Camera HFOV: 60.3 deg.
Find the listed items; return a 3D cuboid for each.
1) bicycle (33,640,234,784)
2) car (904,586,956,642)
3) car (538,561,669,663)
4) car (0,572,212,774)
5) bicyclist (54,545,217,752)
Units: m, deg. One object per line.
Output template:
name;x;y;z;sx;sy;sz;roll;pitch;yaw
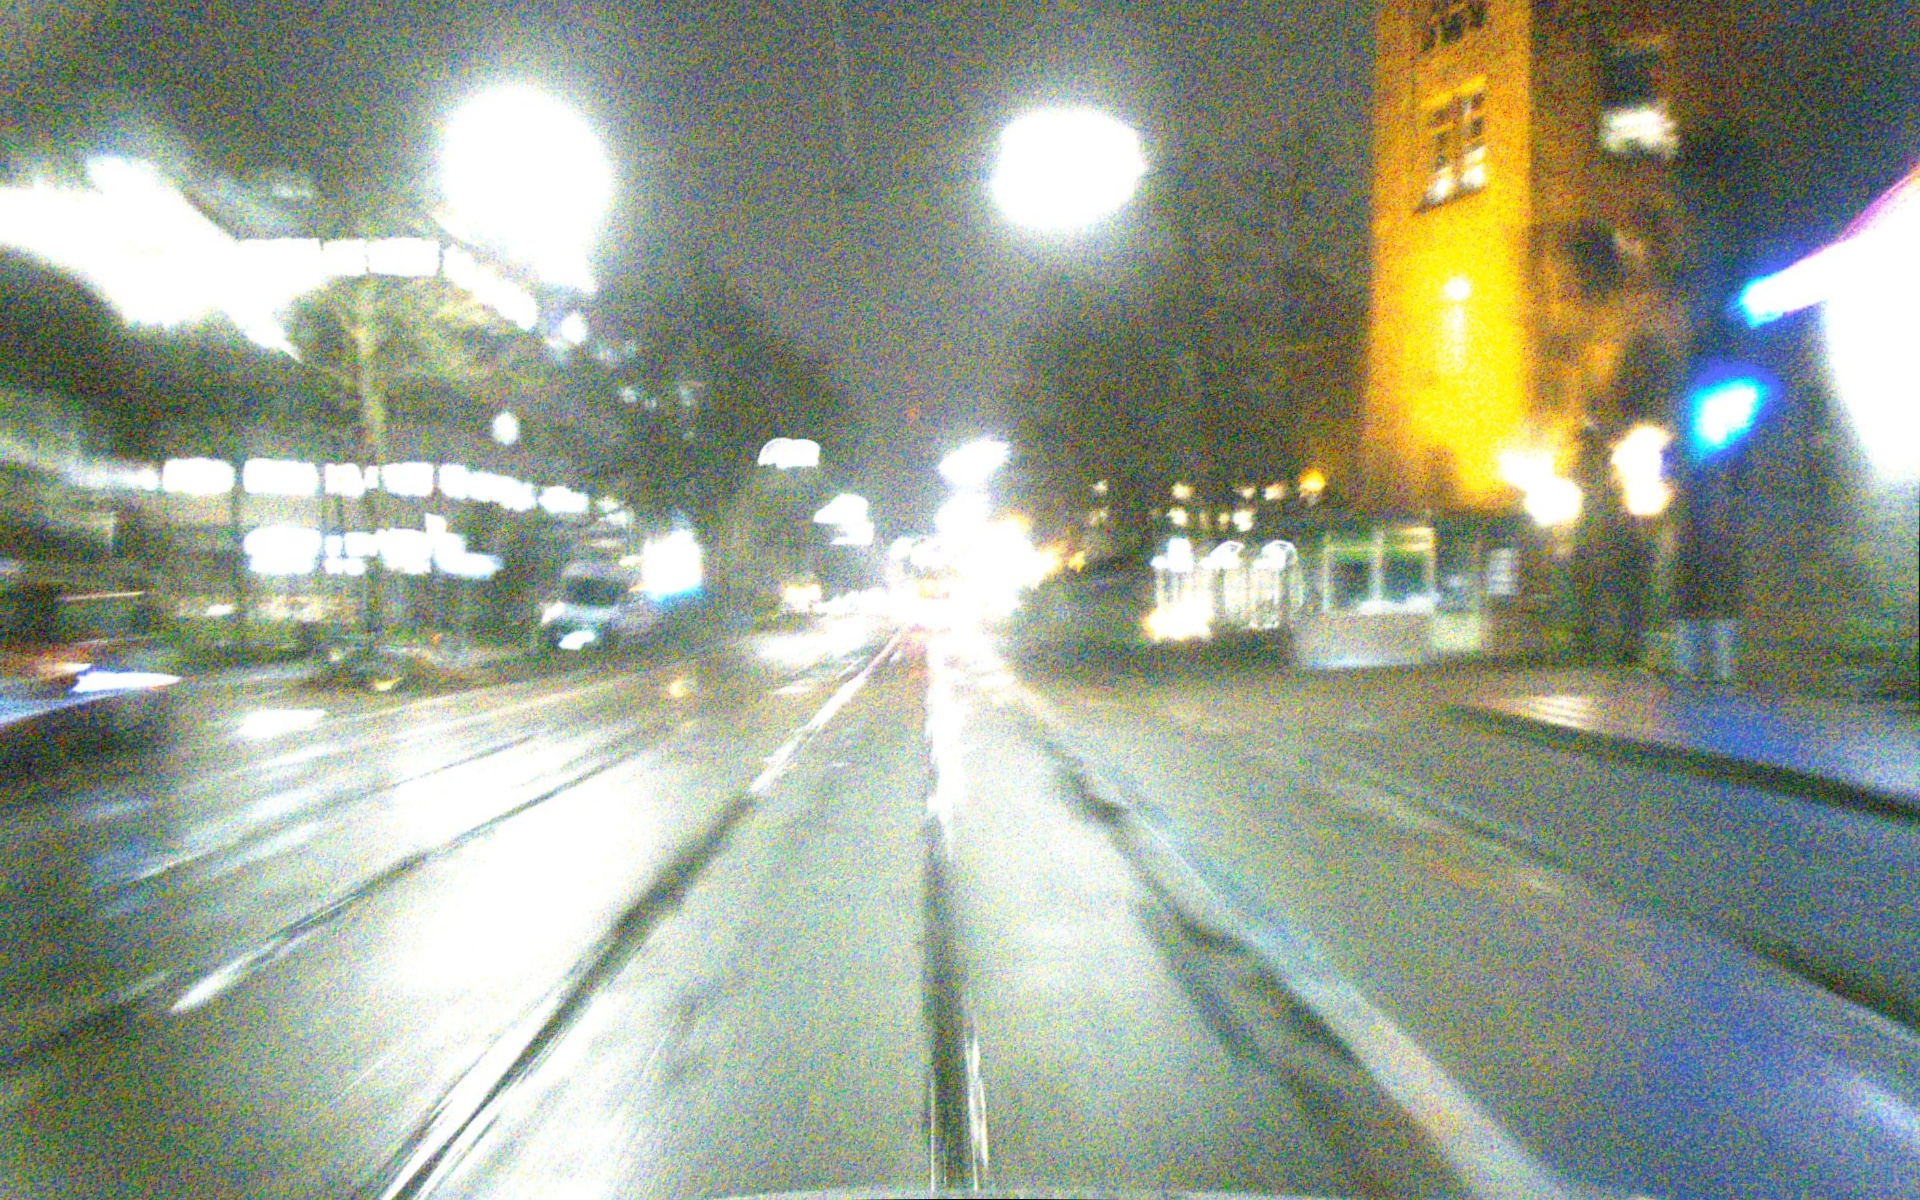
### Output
bicycle;-7.040;0.919;14.202;0.766;1.101;1.918;-2;0;-1
car;-1.391;0.637;74.853;2.199;2.402;4.391;1;0;-2
car;-9.920;0.298;46.598;2.140;2.637;6.392;1;0;1
car;-8.996;0.589;15.340;1.929;1.684;4.601;3;0;0
bicyclist;-7.054;0.400;14.211;0.766;1.684;1.206;-2;-1;-1
